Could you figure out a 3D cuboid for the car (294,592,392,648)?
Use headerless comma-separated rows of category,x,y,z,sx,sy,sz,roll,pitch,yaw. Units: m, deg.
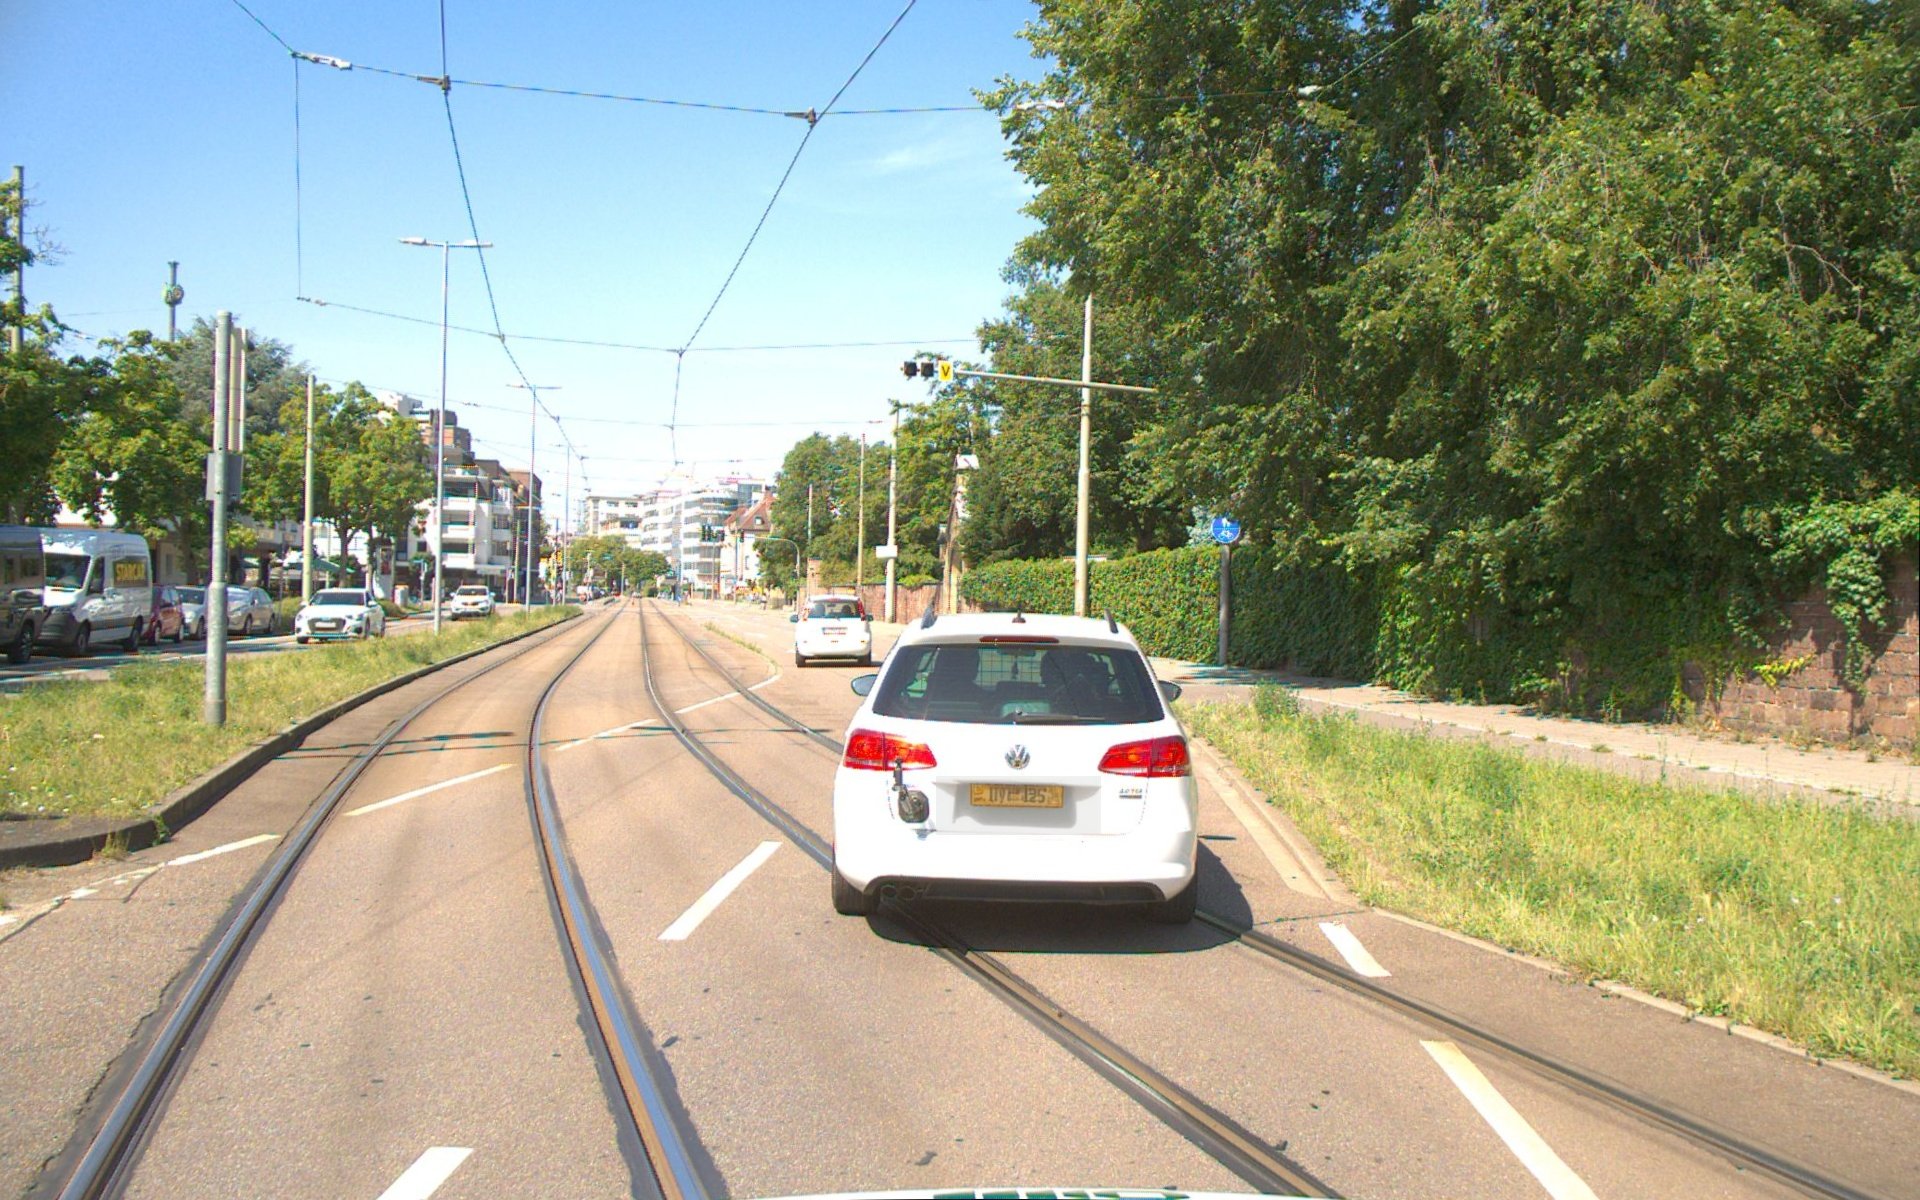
car,-16.638,0.513,44.771,1.759,1.447,4.324,0,0,-11

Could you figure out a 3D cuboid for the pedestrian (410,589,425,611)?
pedestrian,-37.310,-0.012,113.780,0.554,1.513,0.814,1,0,32

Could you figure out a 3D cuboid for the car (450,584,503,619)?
car,-23.180,0.047,79.484,2.007,1.625,4.647,1,0,-11

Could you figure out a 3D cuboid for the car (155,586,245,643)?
car,-21.232,0.379,46.330,1.268,1.516,4.339,1,0,-11

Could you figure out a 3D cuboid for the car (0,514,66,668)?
car,-17.980,-0.211,29.009,2.156,2.715,6.064,3,0,-11

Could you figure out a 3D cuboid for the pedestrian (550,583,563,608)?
pedestrian,-28.479,-0.342,116.763,0.813,1.769,0.927,1,0,-19

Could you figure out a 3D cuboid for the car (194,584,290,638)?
car,-22.265,0.314,51.448,1.575,1.516,4.608,3,0,-9

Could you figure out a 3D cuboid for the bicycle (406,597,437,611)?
bicycle,-36.917,0.263,113.349,0.542,0.937,2.172,1,1,32

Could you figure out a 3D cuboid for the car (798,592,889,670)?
car,-2.570,0.650,37.203,1.695,1.624,4.011,1,0,1

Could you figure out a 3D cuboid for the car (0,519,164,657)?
car,-19.223,-0.286,35.592,2.156,2.676,5.964,3,0,-11

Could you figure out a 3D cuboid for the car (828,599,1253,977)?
car,0.294,0.783,8.787,1.743,1.516,3.846,1,0,-1

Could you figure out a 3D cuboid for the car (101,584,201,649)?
car,-20.353,0.397,41.741,1.268,1.516,3.667,2,0,-11
